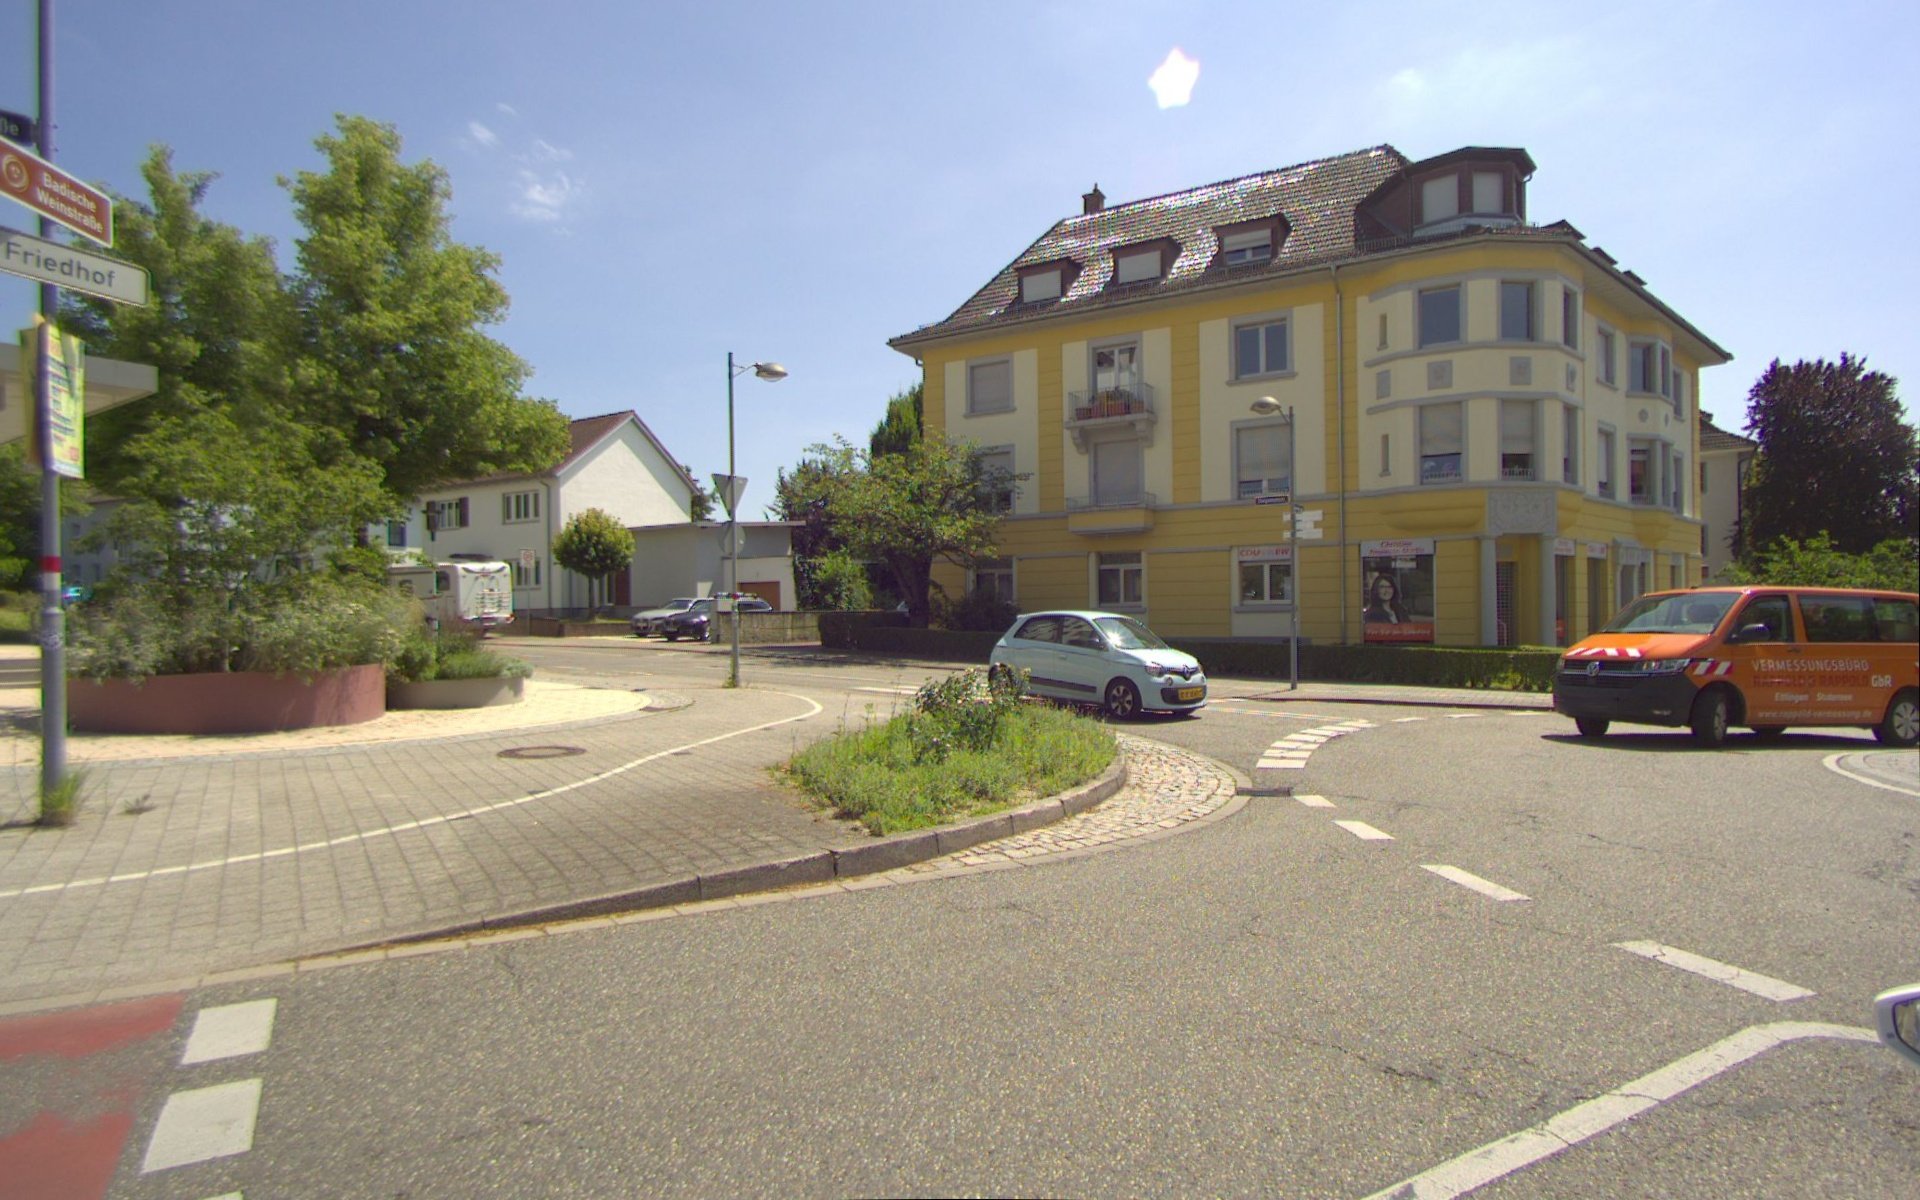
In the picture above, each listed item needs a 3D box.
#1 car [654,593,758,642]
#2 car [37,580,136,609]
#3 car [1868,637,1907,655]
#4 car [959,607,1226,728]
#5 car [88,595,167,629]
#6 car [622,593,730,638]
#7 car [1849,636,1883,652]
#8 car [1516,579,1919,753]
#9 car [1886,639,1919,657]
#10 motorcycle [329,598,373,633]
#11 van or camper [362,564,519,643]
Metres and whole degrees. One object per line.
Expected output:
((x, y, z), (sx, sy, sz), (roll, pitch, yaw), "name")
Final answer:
((-8.909, 0.614, 35.539), (1.721, 1.607, 3.994), (1, -1, 17), "car")
((-52.658, -0.314, 60.660), (1.782, 1.630, 4.118), (1, -1, 24), "car")
((87.291, 4.307, 94.583), (1.966, 1.529, 4.407), (1, -1, 33), "car")
((1.991, 0.950, 16.011), (1.648, 1.545, 4.109), (0, 1, -43), "car")
((-40.152, 0.566, 48.427), (3.922, 1.525, 1.753), (1, -1, 31), "car")
((-10.772, 0.604, 38.314), (1.724, 1.607, 3.988), (1, -1, 27), "car")
((93.473, 4.557, 103.677), (1.966, 1.508, 3.988), (2, 0, 34), "car")
((10.015, 0.757, 12.958), (4.933, 1.985, 1.946), (0, 0, -12), "car")
((84.193, 4.260, 89.335), (1.966, 1.529, 4.407), (1, -1, 33), "car")
((-23.573, 0.597, 38.929), (0.727, 1.337, 2.228), (1, -1, -12), "motorcycle")
((-18.824, 0.063, 36.326), (5.781, 2.674, 2.269), (1, 2, 30), "van or camper")
